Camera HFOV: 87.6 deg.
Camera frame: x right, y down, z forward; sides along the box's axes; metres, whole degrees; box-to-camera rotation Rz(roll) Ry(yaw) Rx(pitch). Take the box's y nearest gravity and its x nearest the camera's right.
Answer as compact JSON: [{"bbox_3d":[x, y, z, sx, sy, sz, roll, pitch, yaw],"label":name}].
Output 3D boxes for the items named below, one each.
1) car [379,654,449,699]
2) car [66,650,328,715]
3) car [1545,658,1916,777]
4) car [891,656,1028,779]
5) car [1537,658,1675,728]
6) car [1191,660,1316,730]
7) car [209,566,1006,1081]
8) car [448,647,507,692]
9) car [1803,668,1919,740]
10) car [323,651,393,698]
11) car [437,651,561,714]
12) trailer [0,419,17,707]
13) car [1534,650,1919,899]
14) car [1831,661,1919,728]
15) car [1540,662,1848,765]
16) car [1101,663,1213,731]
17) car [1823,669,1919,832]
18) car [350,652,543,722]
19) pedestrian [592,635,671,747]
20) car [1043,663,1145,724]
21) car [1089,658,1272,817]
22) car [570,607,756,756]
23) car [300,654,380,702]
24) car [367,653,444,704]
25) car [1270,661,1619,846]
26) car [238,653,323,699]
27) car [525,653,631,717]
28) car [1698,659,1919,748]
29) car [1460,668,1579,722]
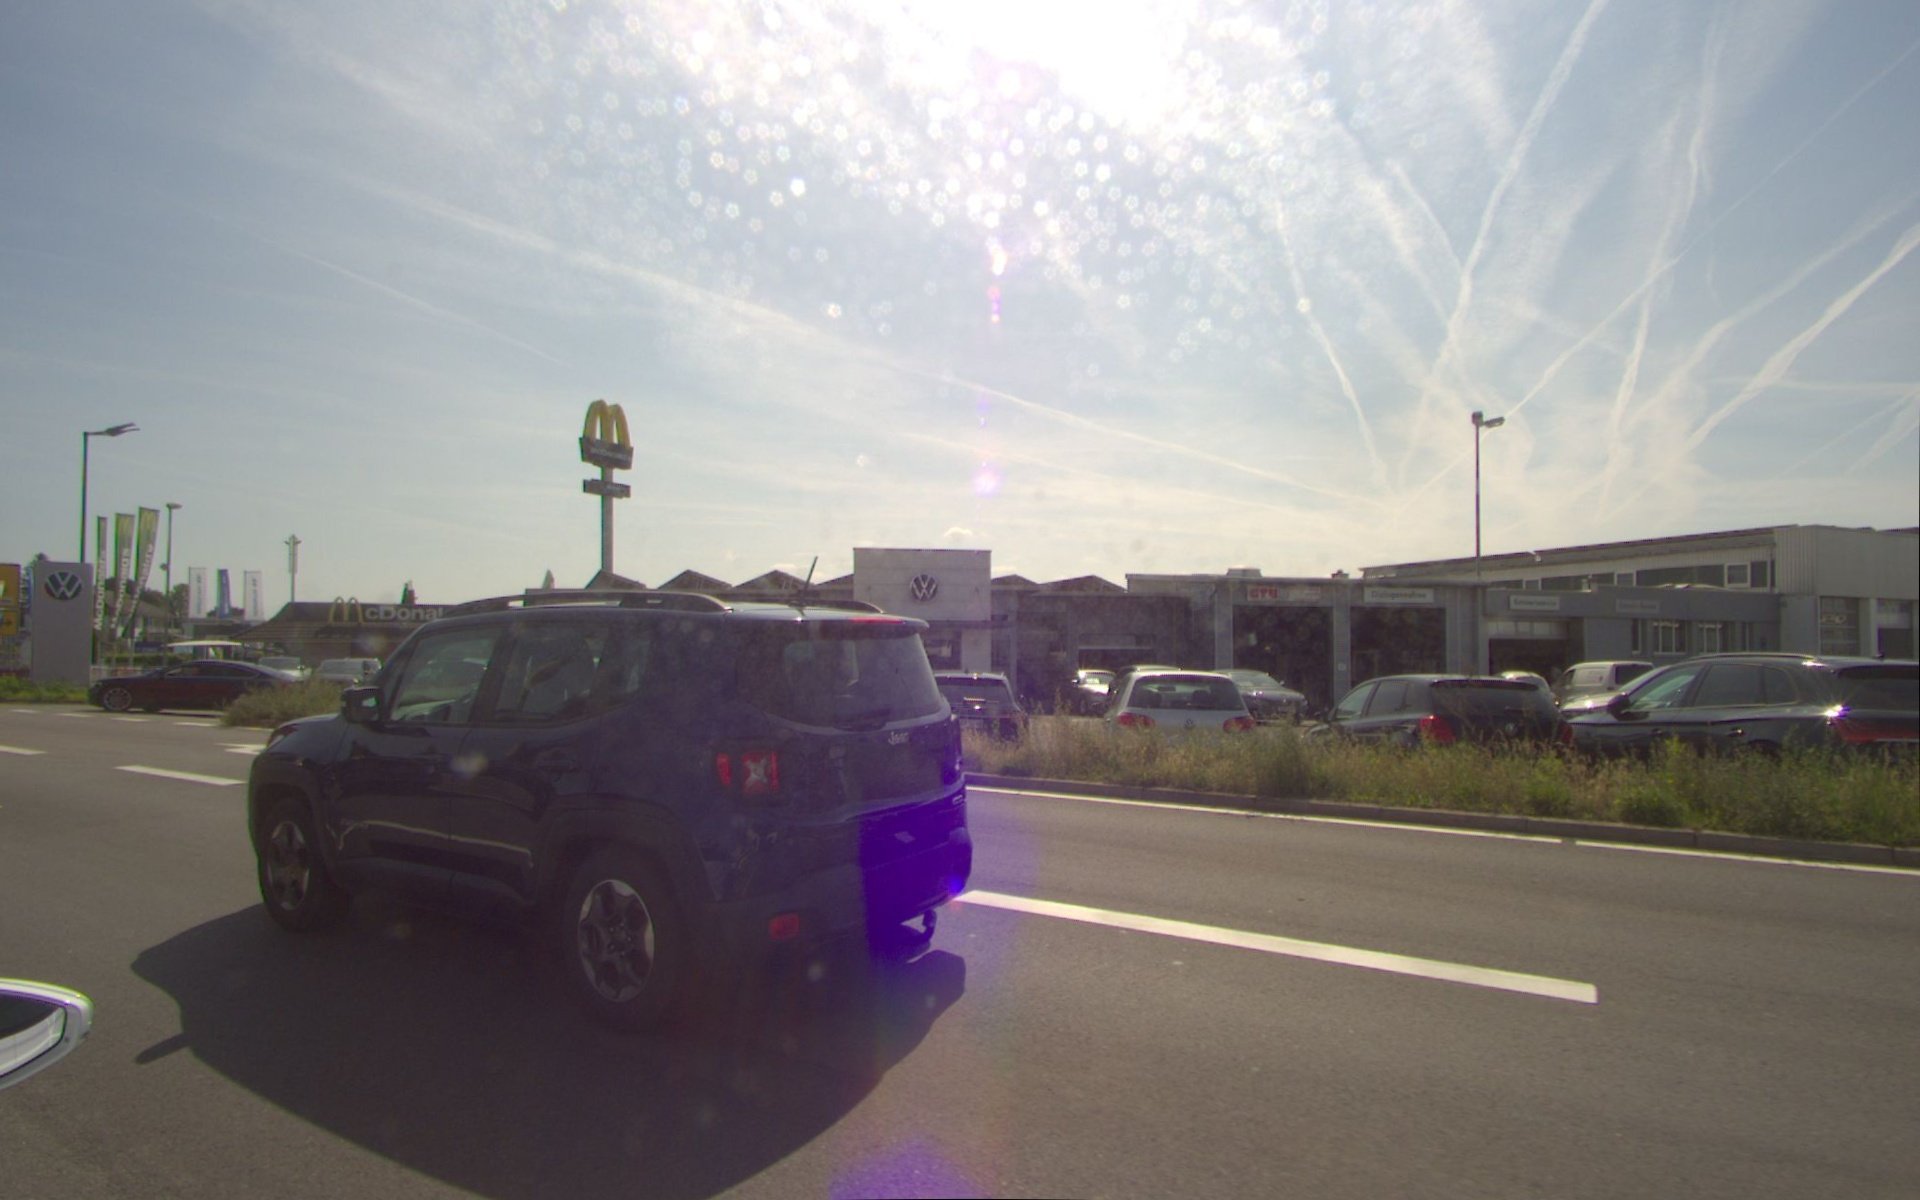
[{"bbox_3d":[-20.089,2.788,36.982,1.767,1.469,4.144,1,-2,-22],"label":"car"},{"bbox_3d":[-19.002,2.118,25.198,4.729,1.347,1.968,4,-7,-13],"label":"car"},{"bbox_3d":[12.525,1.844,16.761,4.638,1.675,1.901,-1,-2,29],"label":"car"},{"bbox_3d":[-0.007,1.607,14.863,1.741,1.470,4.346,0,-2,0],"label":"car"},{"bbox_3d":[20.707,2.927,32.335,1.741,1.973,4.540,0,-2,4],"label":"car"},{"bbox_3d":[8.024,2.554,27.780,1.742,1.675,4.076,0,-2,-9],"label":"car"},{"bbox_3d":[-1.907,0.795,5.082,3.943,1.675,1.767,-1,-2,32],"label":"car"},{"bbox_3d":[-20.020,2.847,41.702,1.881,1.692,4.806,1,-2,-22],"label":"car"},{"bbox_3d":[24.046,2.576,24.849,4.469,1.675,1.769,-1,-2,29],"label":"car"},{"bbox_3d":[-23.727,2.886,39.612,1.747,1.692,3.899,1,-2,-22],"label":"car"},{"bbox_3d":[-13.622,2.390,29.874,1.741,1.692,4.027,0,-2,2],"label":"car"},{"bbox_3d":[-18.945,-0.148,15.745,12.982,4.418,2.836,-1,-4,33],"label":"trailer"},{"bbox_3d":[7.190,1.312,8.991,1.741,1.675,4.002,0,-2,0],"label":"car"},{"bbox_3d":[26.023,2.499,26.385,4.480,1.675,1.765,-2,-2,37],"label":"car"},{"bbox_3d":[13.688,2.060,19.074,4.469,1.675,1.962,-1,-2,29],"label":"car"},{"bbox_3d":[5.337,2.614,27.671,1.662,1.628,4.076,2,-2,-10],"label":"car"},{"bbox_3d":[9.704,1.385,8.419,1.742,1.476,4.001,0,-2,7],"label":"car"},{"bbox_3d":[-12.880,2.175,25.255,3.998,1.674,1.778,0,-4,7],"label":"car"},{"bbox_3d":[-4.817,1.321,14.741,0.920,1.604,0.758,0,-1,-1],"label":"pedestrian"},{"bbox_3d":[4.260,2.961,32.512,1.744,1.675,4.546,0,-2,-14],"label":"car"},{"bbox_3d":[2.586,1.568,12.595,1.679,1.578,4.002,0,-2,4],"label":"car"},{"bbox_3d":[-4.910,1.302,17.215,1.729,2.241,4.351,0,-2,3],"label":"car"},{"bbox_3d":[-22.064,2.733,35.791,1.747,1.552,4.079,1,-2,-22],"label":"car"},{"bbox_3d":[-18.250,2.532,33.125,1.721,1.510,4.253,1,-2,-22],"label":"car"},{"bbox_3d":[5.038,1.511,11.113,1.741,1.572,4.002,0,-2,-3],"label":"car"},{"bbox_3d":[-26.241,2.877,38.810,1.830,1.596,4.222,1,-2,-22],"label":"car"},{"bbox_3d":[-11.262,2.462,29.809,1.884,1.692,4.001,0,-2,-5],"label":"car"},{"bbox_3d":[19.104,2.212,22.099,4.482,1.751,1.811,-2,-2,38],"label":"car"},{"bbox_3d":[17.973,3.025,32.399,1.741,1.510,4.079,0,-2,4],"label":"car"}]
